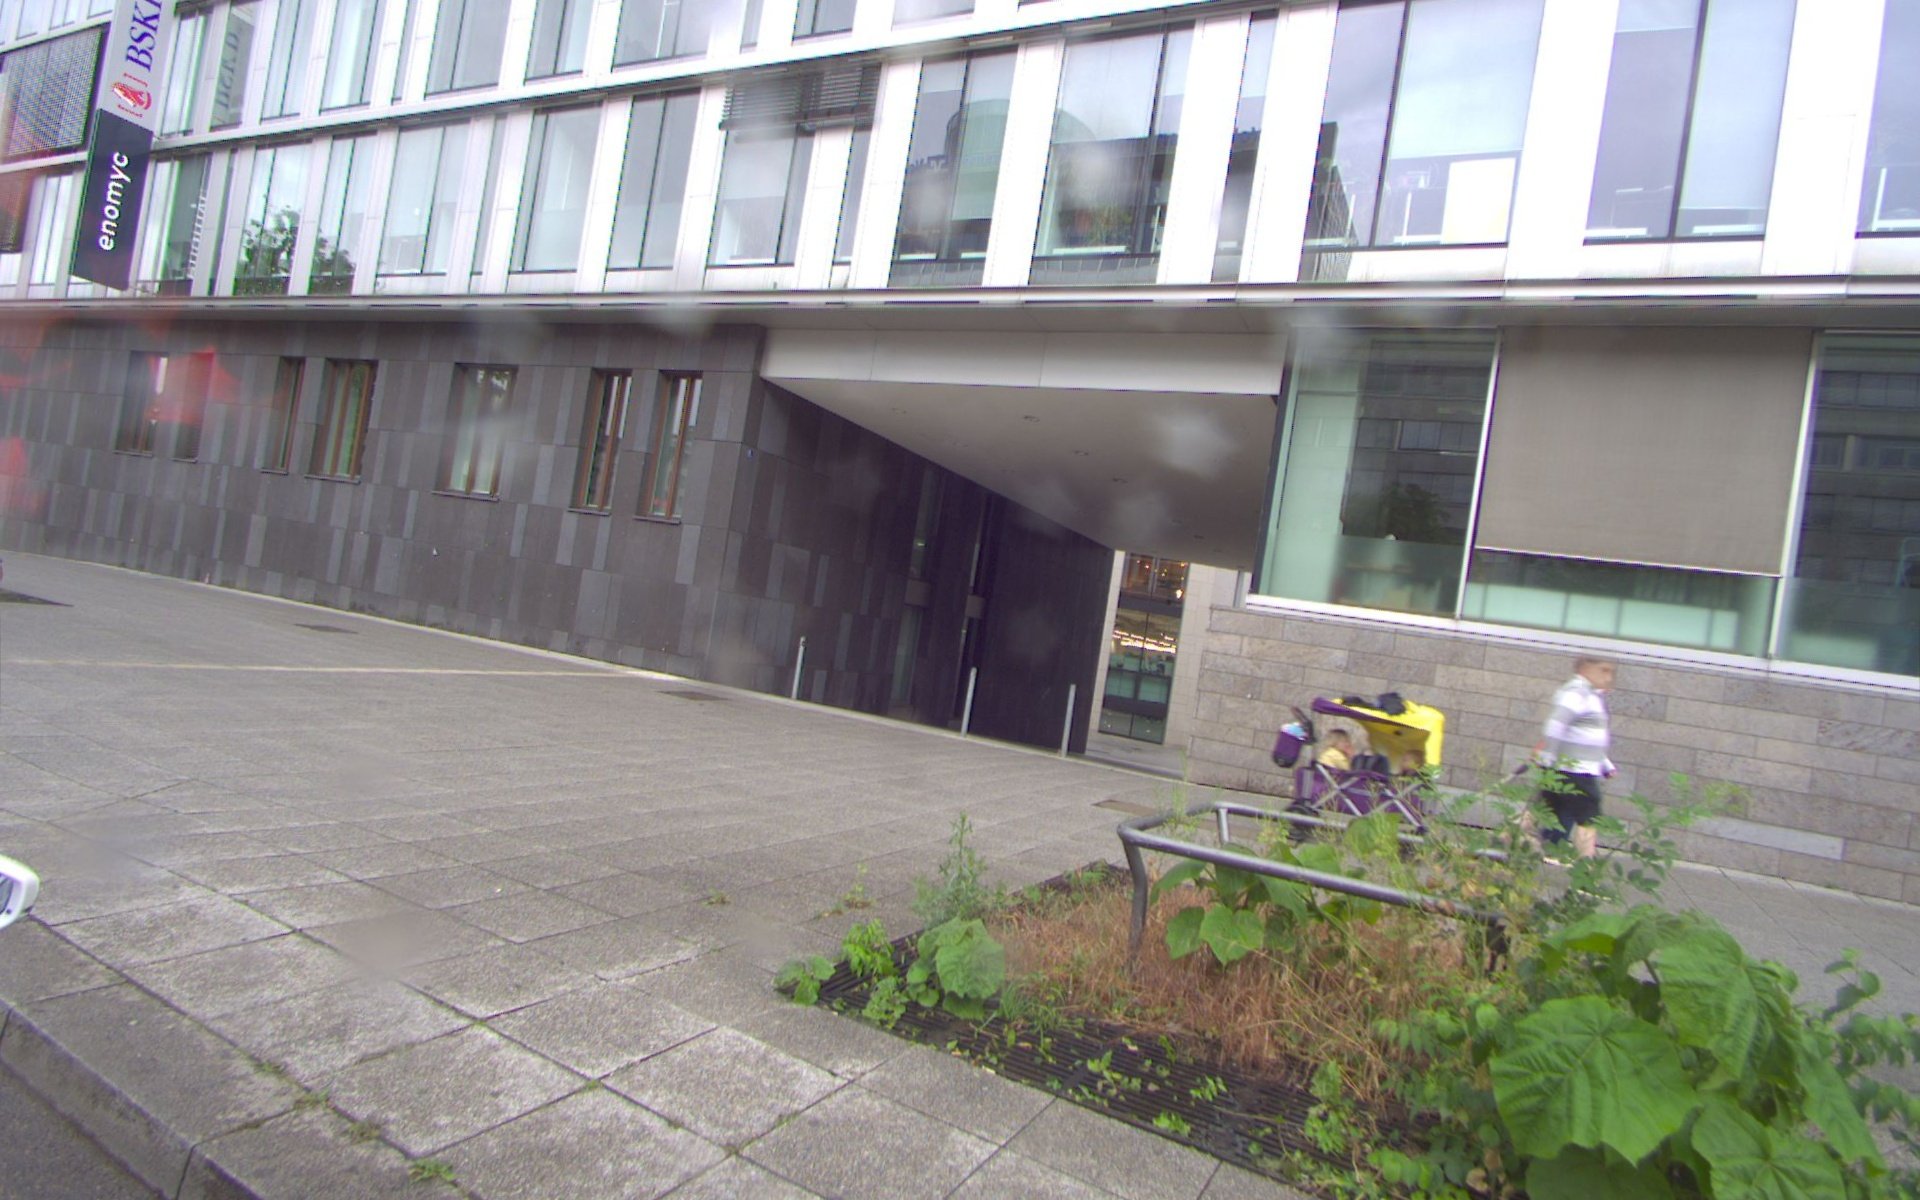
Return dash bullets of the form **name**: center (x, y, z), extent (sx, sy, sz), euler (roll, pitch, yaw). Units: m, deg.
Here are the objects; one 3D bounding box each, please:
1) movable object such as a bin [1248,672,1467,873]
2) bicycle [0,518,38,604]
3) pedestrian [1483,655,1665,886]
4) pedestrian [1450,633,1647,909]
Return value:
- **movable object such as a bin**: center (3.206, 1.337, 8.118), extent (1.419, 1.279, 0.733), euler (8, 0, 29)
- **bicycle**: center (-13.063, -0.637, 12.254), extent (0.665, 1.069, 2.543), euler (7, -2, 27)
- **pedestrian**: center (5.179, 1.392, 8.573), extent (1.080, 1.712, 0.719), euler (7, 1, 27)
- **pedestrian**: center (4.413, 1.227, 7.654), extent (1.028, 1.814, 0.901), euler (7, 1, 26)
